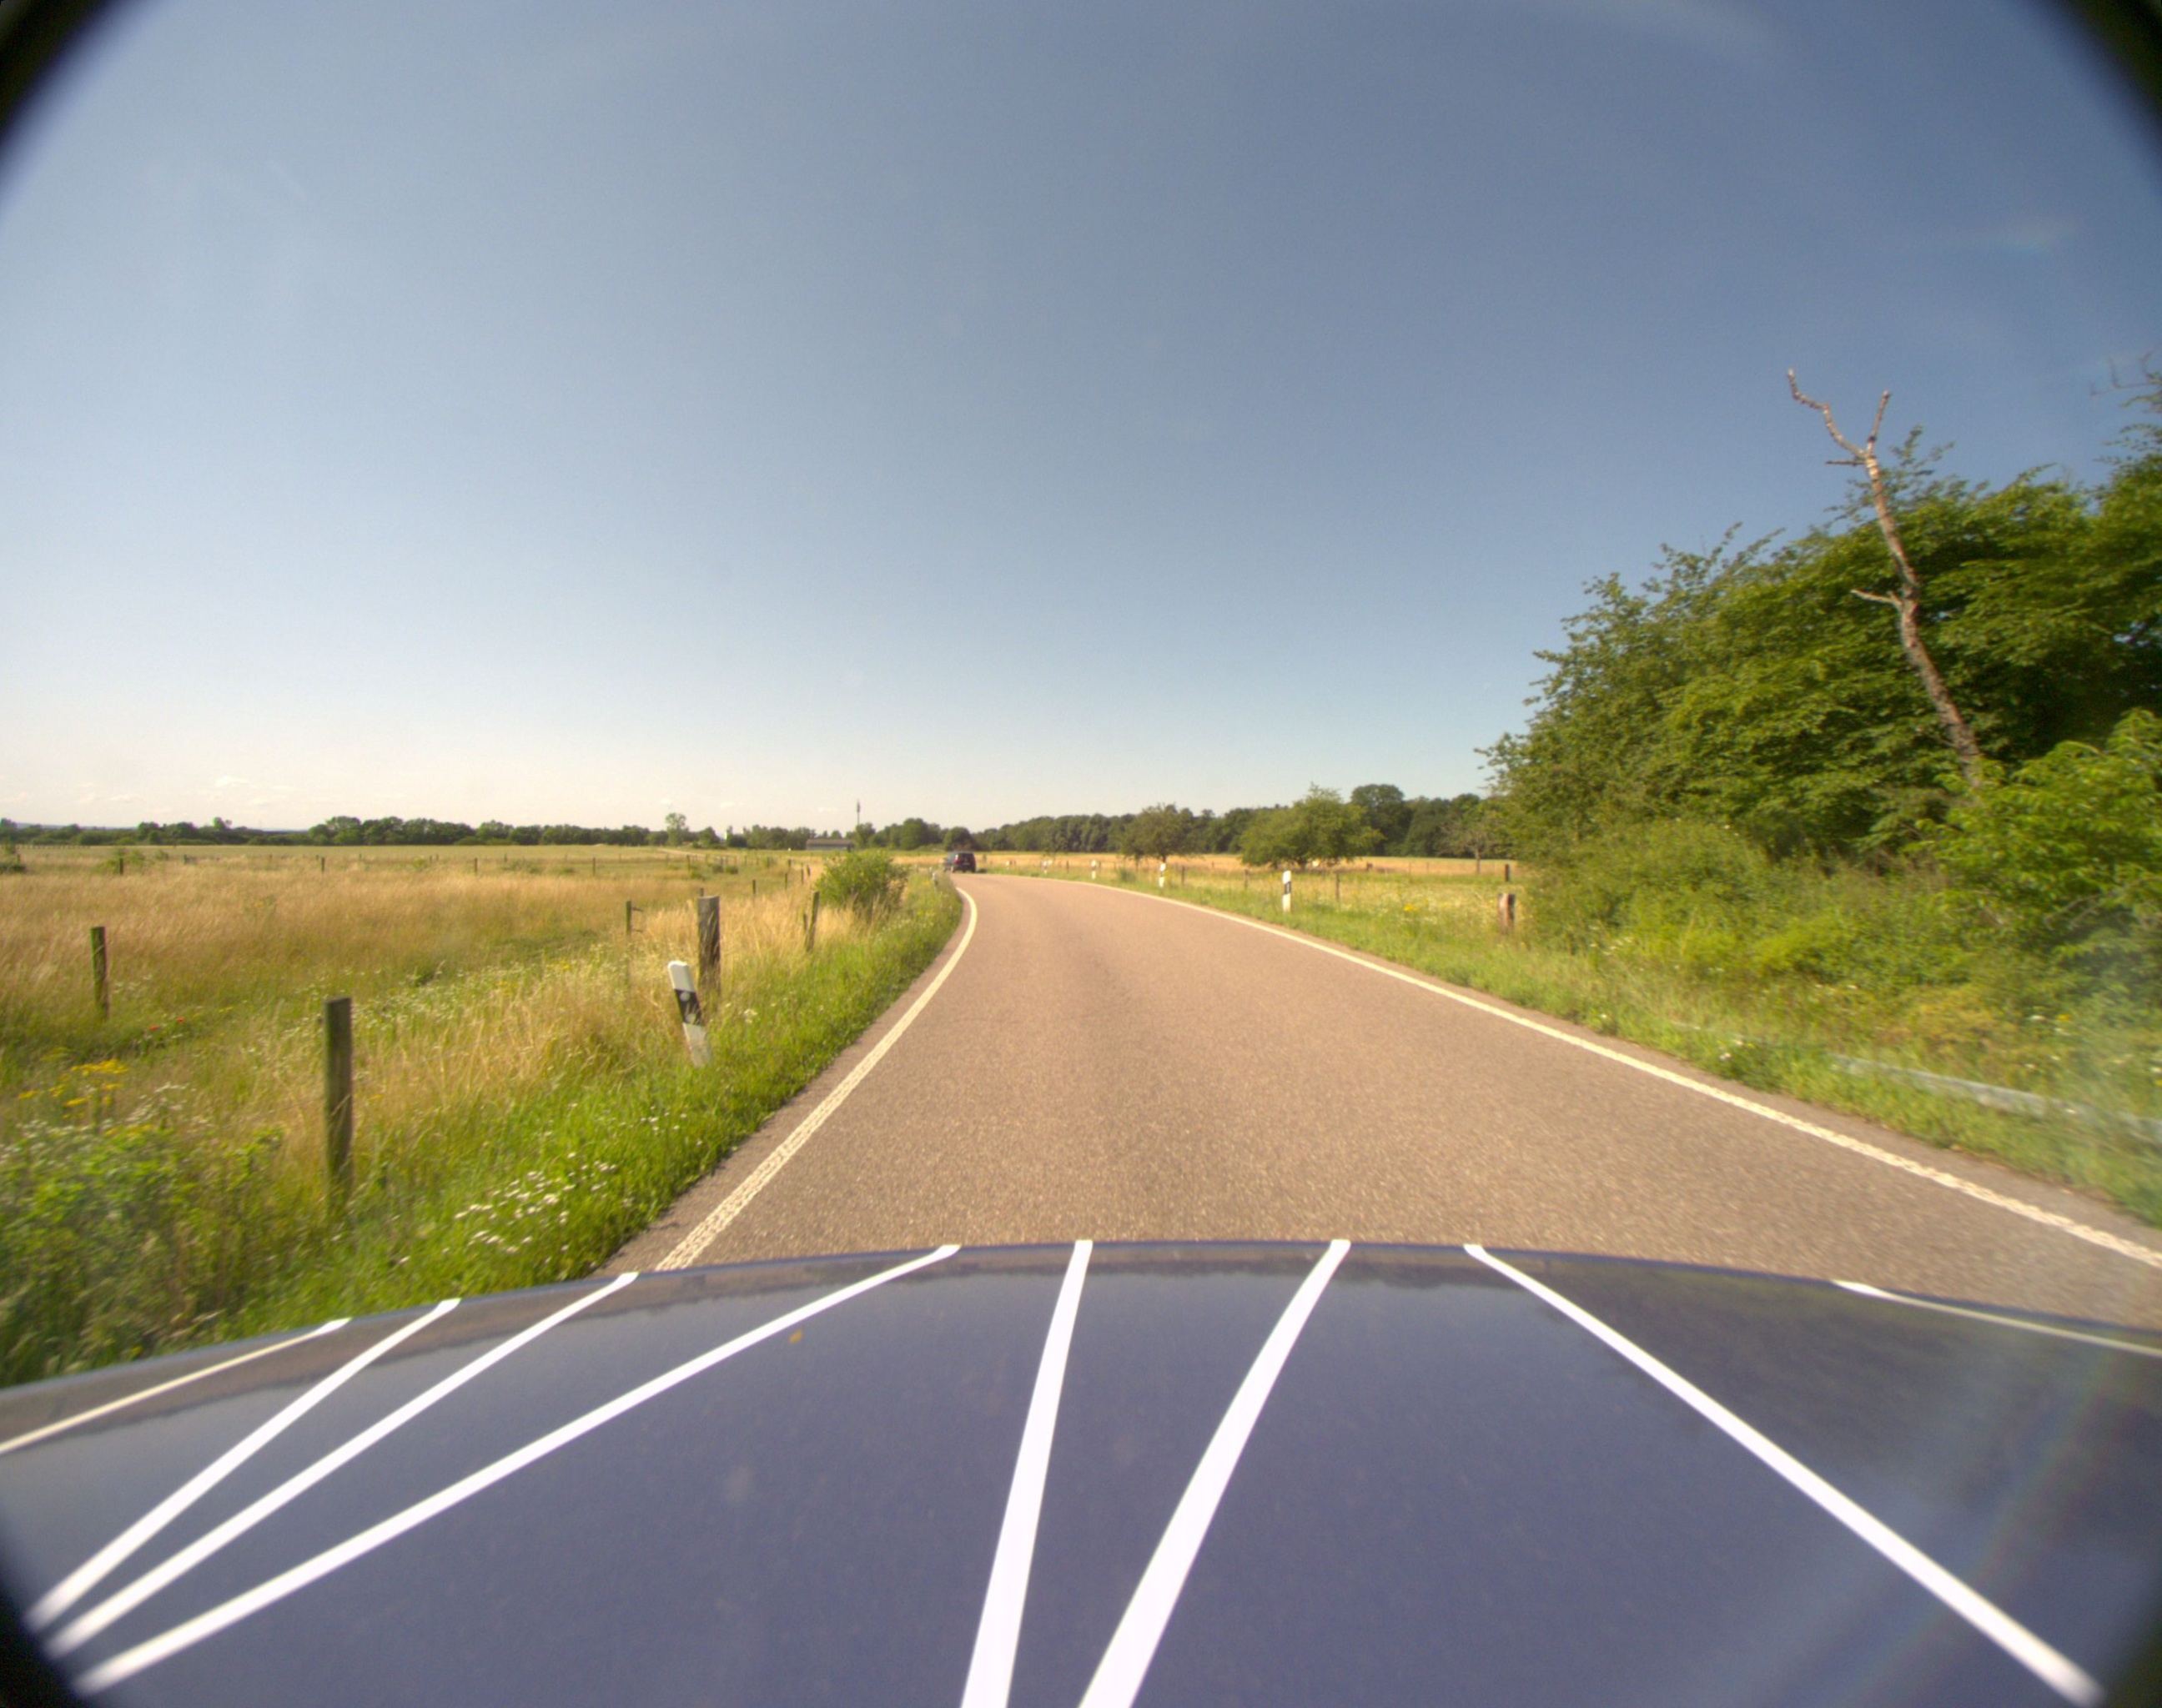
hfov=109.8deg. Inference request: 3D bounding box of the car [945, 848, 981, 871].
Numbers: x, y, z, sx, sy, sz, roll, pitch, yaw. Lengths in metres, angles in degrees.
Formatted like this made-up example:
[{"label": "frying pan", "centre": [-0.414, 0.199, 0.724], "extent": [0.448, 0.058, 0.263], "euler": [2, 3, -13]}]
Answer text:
[{"label": "car", "centre": [-9.028, 0.467, 58.085], "extent": [1.792, 1.622, 4.154], "euler": [1, -2, -22]}]
